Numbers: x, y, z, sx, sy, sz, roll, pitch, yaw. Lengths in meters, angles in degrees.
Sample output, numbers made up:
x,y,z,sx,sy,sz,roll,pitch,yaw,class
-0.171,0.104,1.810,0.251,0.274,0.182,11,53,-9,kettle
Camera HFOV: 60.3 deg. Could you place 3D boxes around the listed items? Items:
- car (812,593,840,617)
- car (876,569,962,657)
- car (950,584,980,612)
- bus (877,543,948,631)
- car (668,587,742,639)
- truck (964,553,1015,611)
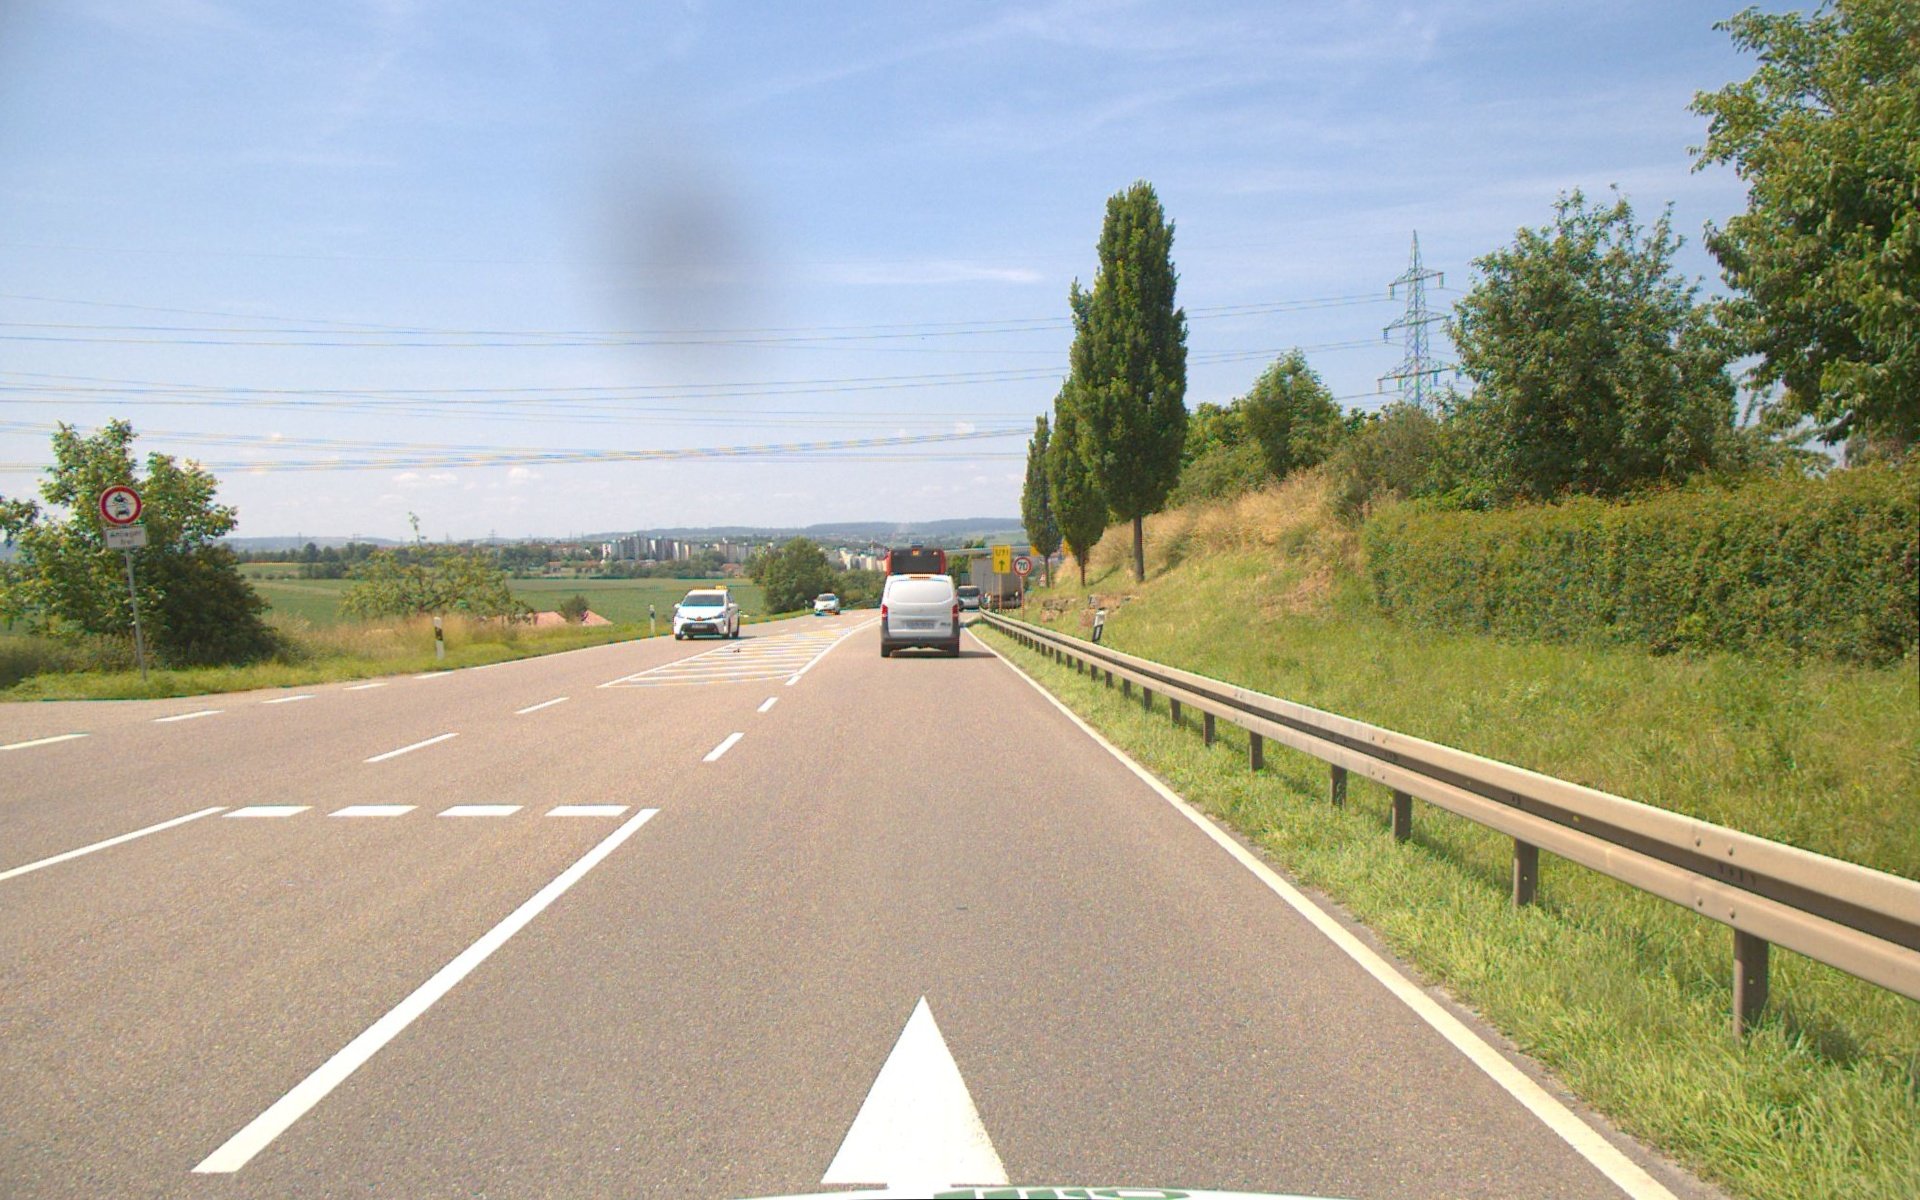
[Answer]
x,y,z,sx,sy,sz,roll,pitch,yaw,class
-10.083,0.342,124.932,1.730,1.716,3.826,-2,0,0,car
-0.922,0.262,39.540,1.884,1.922,4.000,-2,1,0,car
0.381,-0.167,115.001,1.846,1.848,3.766,-2,1,3,car
-2.180,-0.740,73.666,2.692,3.411,13.218,-3,2,-2,bus
-8.370,0.401,54.553,1.816,1.593,4.073,-2,0,-1,car
2.553,-1.407,135.050,3.415,4.501,14.910,0,0,4,truck
